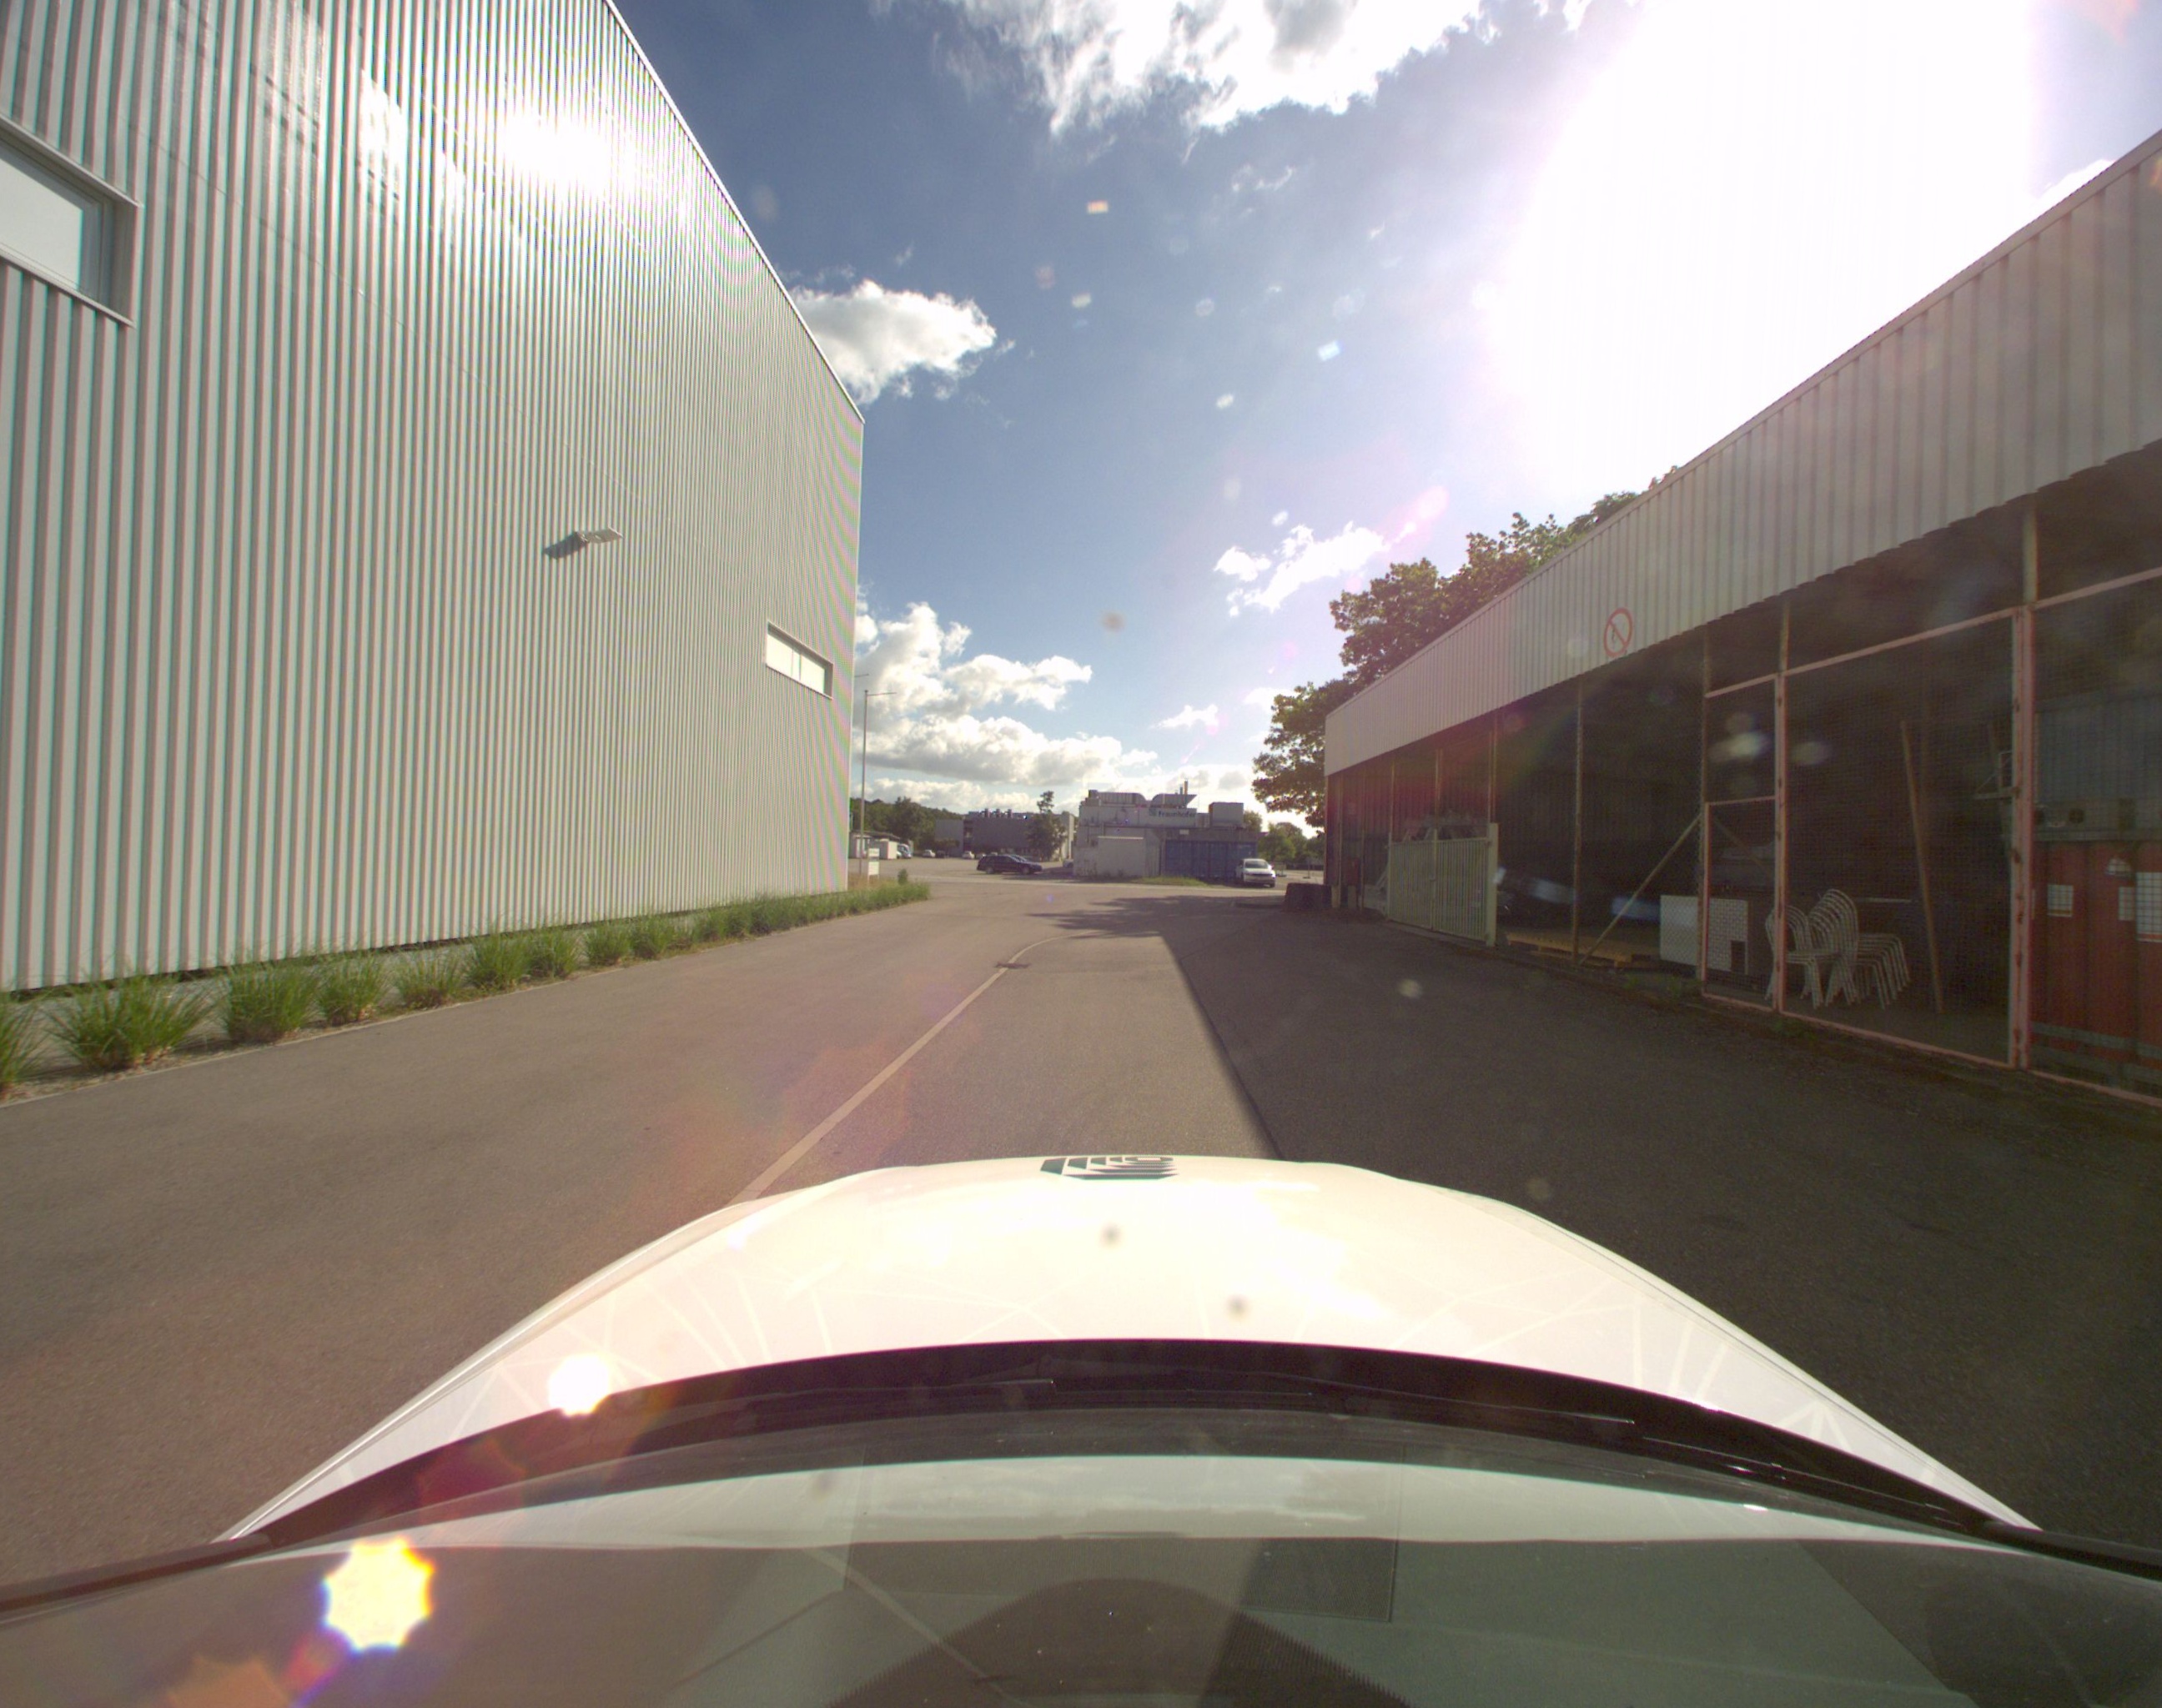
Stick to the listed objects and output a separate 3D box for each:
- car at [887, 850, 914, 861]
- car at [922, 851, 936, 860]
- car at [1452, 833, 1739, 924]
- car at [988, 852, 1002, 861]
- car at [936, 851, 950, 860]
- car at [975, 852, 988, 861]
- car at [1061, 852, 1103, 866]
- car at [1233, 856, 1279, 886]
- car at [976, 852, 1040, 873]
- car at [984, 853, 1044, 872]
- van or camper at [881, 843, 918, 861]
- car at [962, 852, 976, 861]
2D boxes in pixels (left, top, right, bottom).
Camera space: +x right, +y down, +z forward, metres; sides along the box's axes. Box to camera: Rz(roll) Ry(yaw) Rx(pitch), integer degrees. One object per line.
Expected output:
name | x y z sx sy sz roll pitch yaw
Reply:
car | -29.509 0.256 133.148 3.972 1.610 2.001 1 0 1
car | -29.769 0.388 159.662 1.986 1.736 4.002 -1 -1 2
car | 11.278 0.527 18.093 5.225 1.876 1.998 1 0 -3
car | -16.882 0.441 159.589 2.185 1.736 4.002 -1 -1 2
car | -26.979 0.358 159.497 1.986 1.736 4.002 -1 -1 2
car | -19.474 0.496 159.347 1.986 1.736 4.002 -1 -1 2
car | 0.114 0.527 89.281 4.506 1.508 1.911 1 0 3
car | 10.377 0.955 48.459 1.986 1.585 4.176 1 1 2
car | -5.503 0.644 61.863 4.505 1.508 1.911 0 0 4
car | -5.362 0.673 65.099 4.505 1.508 1.911 0 0 4
van or camper | -30.384 -0.396 136.452 5.695 2.928 2.474 1 0 0
car | -21.940 0.526 159.796 1.986 1.736 4.002 -1 -1 2
